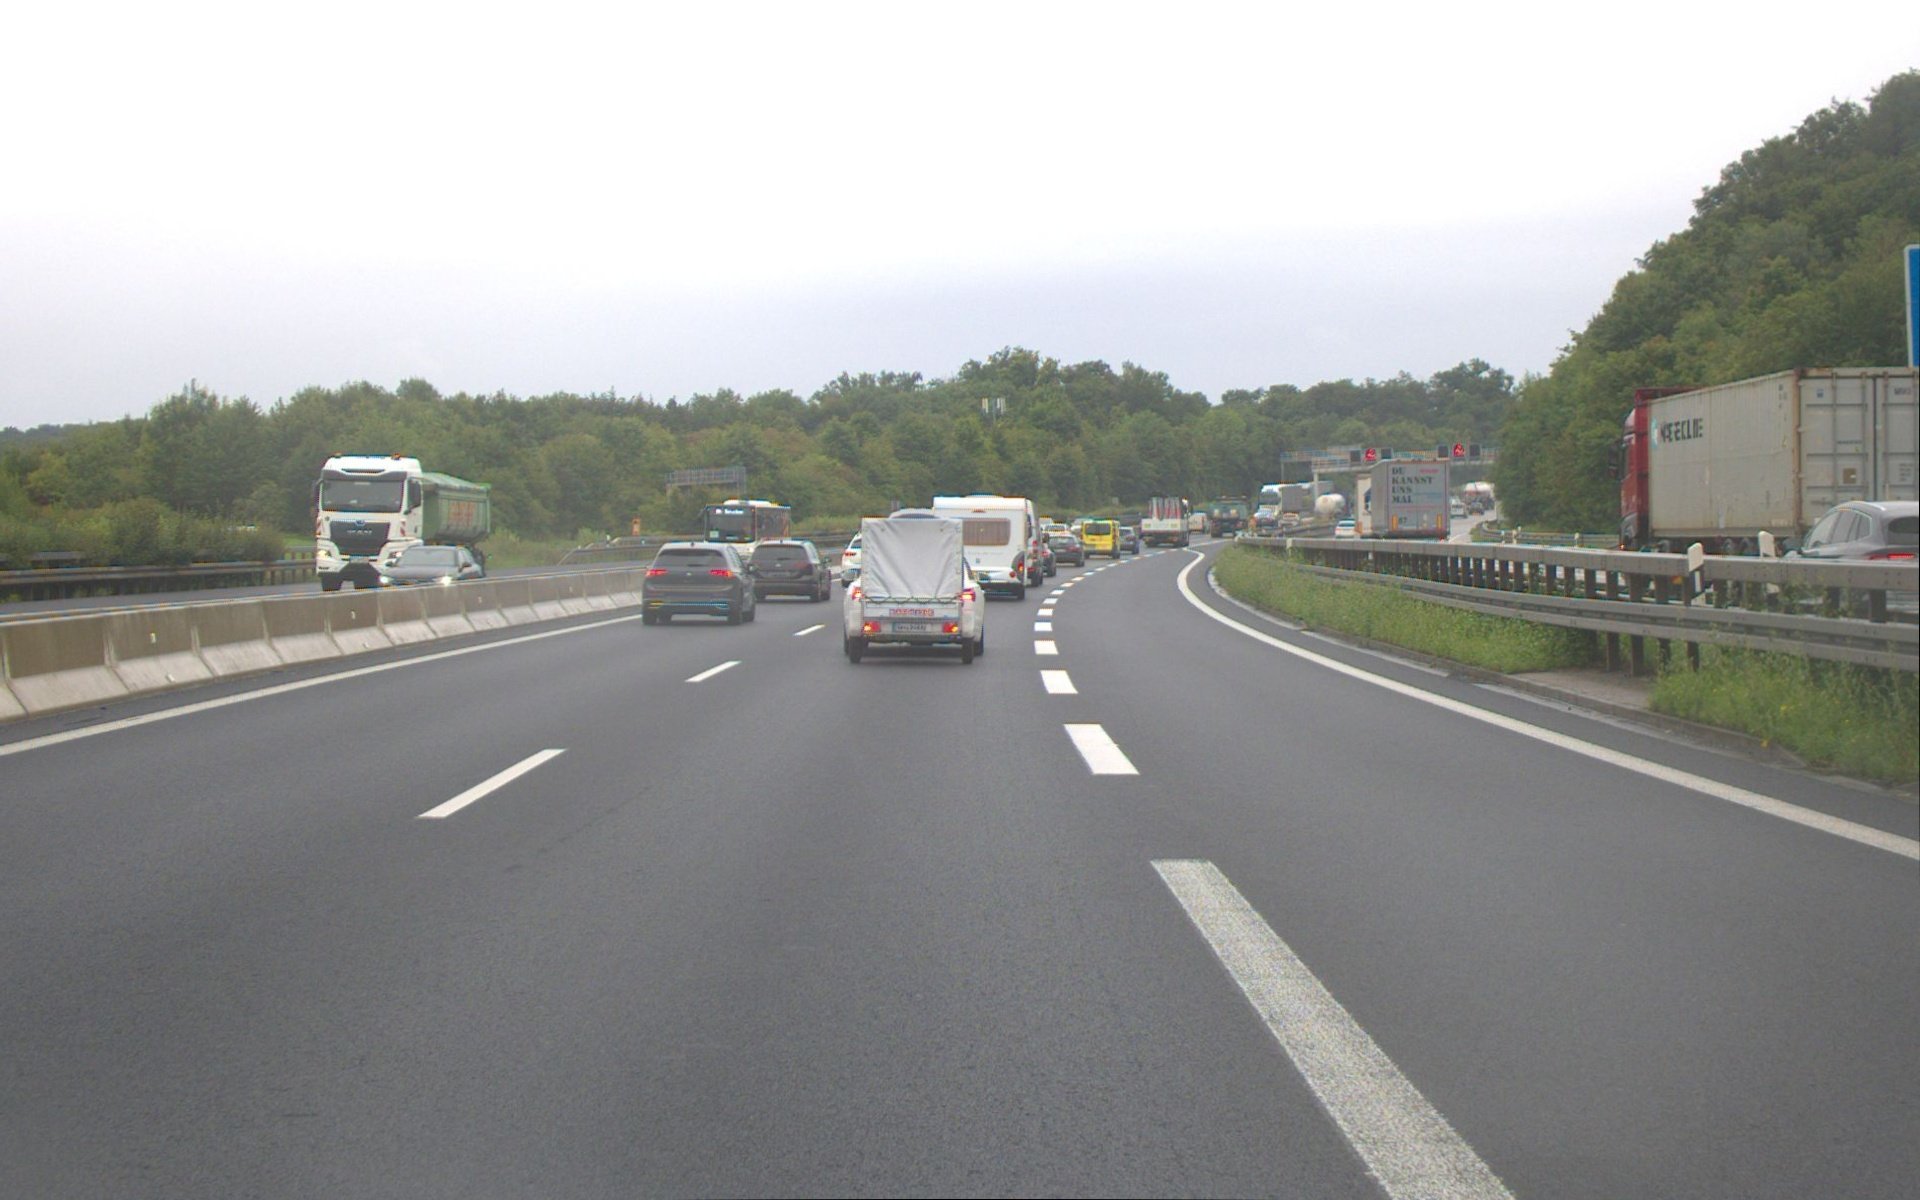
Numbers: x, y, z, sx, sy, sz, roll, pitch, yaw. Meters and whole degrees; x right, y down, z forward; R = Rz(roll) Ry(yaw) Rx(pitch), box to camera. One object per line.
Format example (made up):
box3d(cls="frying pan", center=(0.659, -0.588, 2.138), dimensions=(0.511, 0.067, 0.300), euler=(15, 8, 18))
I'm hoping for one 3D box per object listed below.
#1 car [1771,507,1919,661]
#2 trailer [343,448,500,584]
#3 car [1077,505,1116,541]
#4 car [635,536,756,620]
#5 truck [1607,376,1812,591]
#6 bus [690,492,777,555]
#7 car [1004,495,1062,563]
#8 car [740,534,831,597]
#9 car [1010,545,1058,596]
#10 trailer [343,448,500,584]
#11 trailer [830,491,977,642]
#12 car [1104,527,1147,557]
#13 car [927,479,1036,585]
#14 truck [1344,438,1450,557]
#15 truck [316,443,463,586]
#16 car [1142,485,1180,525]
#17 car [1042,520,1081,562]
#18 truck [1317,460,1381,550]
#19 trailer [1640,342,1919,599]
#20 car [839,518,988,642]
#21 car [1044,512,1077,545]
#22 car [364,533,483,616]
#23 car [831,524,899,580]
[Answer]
box3d(cls="car", center=(10.454, -0.197, 38.187), dimensions=(1.769, 1.604, 4.644), euler=(0, 1, 0))
box3d(cls="trailer", center=(-15.383, -2.366, 98.854), dimensions=(2.903, 3.736, 8.928), euler=(0, 1, 1))
box3d(cls="car", center=(7.112, -3.995, 178.347), dimensions=(1.676, 1.806, 3.999), euler=(0, 1, 7))
box3d(cls="car", center=(-4.715, -0.413, 61.661), dimensions=(1.676, 1.451, 4.000), euler=(0, 1, 3))
box3d(cls="truck", center=(14.150, -2.149, 65.333), dimensions=(2.616, 3.871, 6.392), euler=(0, 1, 1))
box3d(cls="bus", center=(-11.149, -3.720, 170.517), dimensions=(2.698, 2.948, 11.896), euler=(-1, 1, 4))
box3d(cls="car", center=(2.228, -2.162, 105.521), dimensions=(1.676, 2.060, 4.000), euler=(0, 1, 0))
box3d(cls="car", center=(-4.128, -0.833, 81.744), dimensions=(1.765, 1.451, 4.000), euler=(0, 1, 3))
box3d(cls="car", center=(2.681, -1.091, 124.153), dimensions=(1.676, 1.806, 4.000), euler=(0, 1, 1))
box3d(cls="trailer", center=(-15.383, -2.366, 98.854), dimensions=(2.903, 3.736, 8.928), euler=(0, 1, 1))
box3d(cls="trailer", center=(-0.670, -0.429, 43.410), dimensions=(1.676, 1.806, 4.000), euler=(0, 1, 2))
box3d(cls="car", center=(9.543, -3.338, 197.772), dimensions=(2.038, 1.677, 3.999), euler=(0, 1, 9))
box3d(cls="car", center=(0.588, -1.711, 86.787), dimensions=(2.508, 2.576, 5.699), euler=(0, 1, 3))
box3d(cls="truck", center=(17.863, -4.103, 141.350), dimensions=(3.216, 4.650, 13.032), euler=(0, 1, 2))
box3d(cls="truck", center=(-15.466, -2.292, 93.569), dimensions=(2.887, 3.736, 5.945), euler=(0, 1, 1))
box3d(cls="car", center=(13.427, -6.341, 229.465), dimensions=(2.516, 2.566, 5.311), euler=(0, 1, 4))
box3d(cls="car", center=(4.445, -2.587, 150.706), dimensions=(1.676, 1.806, 4.000), euler=(0, 1, 1))
box3d(cls="truck", center=(20.905, -5.021, 184.343), dimensions=(3.216, 4.650, 13.029), euler=(0, 1, 7))
box3d(cls="trailer", center=(13.970, -2.052, 58.454), dimensions=(2.604, 3.881, 12.490), euler=(0, 1, 1))
box3d(cls="car", center=(-0.582, -0.293, 47.099), dimensions=(1.818, 1.610, 4.778), euler=(0, 1, 2))
box3d(cls="car", center=(6.225, -4.416, 213.163), dimensions=(1.993, 2.007, 4.000), euler=(0, 1, 2))
box3d(cls="car", center=(-12.392, -0.607, 79.682), dimensions=(1.895, 1.869, 4.542), euler=(0, 1, 2))
box3d(cls="car", center=(-2.857, -1.458, 104.084), dimensions=(1.776, 1.634, 4.043), euler=(0, 1, 3))
